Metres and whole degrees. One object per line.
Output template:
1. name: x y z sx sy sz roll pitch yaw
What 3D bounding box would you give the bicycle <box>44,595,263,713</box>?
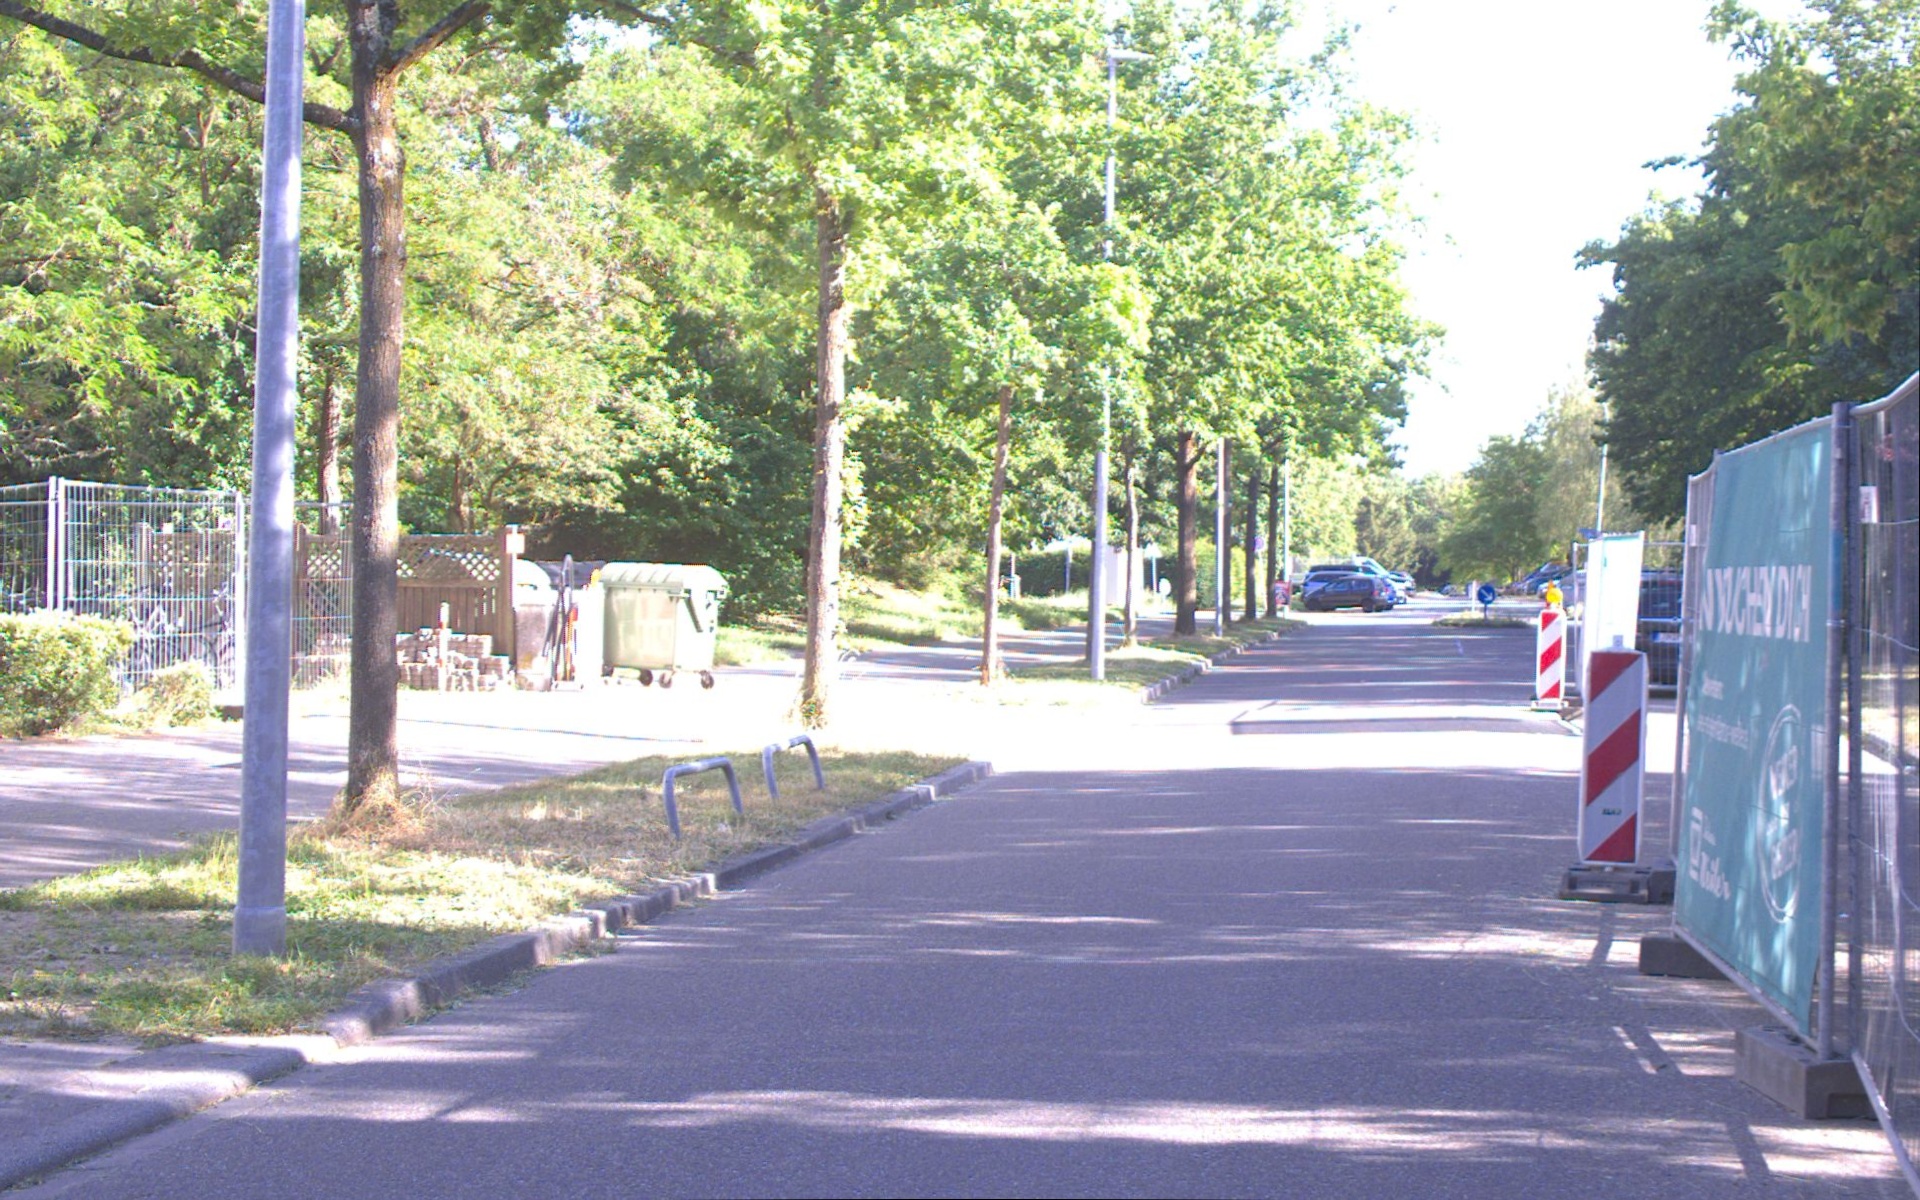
1. bicycle: -7.174 0.478 30.617 1.838 1.023 0.400 1 0 -3

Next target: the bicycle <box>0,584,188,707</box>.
1. bicycle: -7.548 0.382 29.246 1.868 1.023 0.400 1 0 -3

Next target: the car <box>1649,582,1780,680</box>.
1. car: 11.686 0.453 53.462 1.662 1.371 4.153 2 1 9

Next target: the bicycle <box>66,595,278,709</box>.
1. bicycle: -7.220 0.475 31.530 1.837 1.023 0.400 1 0 -3

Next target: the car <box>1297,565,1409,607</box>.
1. car: 16.420 -0.574 143.519 4.321 1.571 2.044 3 1 16

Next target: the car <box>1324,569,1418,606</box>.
1. car: 19.084 -0.586 159.599 4.109 1.571 1.957 2 1 11

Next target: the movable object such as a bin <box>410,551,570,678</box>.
1. movable object such as a bin: -5.434 0.155 39.769 1.272 1.430 1.323 1 1 37

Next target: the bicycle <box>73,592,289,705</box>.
1. bicycle: -7.245 0.449 32.005 1.914 1.023 0.400 1 0 -3

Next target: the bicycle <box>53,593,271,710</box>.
1. bicycle: -7.211 0.463 31.101 1.859 1.023 0.400 1 0 -3

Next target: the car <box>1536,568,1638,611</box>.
1. car: 25.080 -0.415 137.514 3.841 1.571 1.687 3 1 16

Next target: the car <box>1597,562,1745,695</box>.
1. car: 9.736 0.358 46.886 1.811 1.645 4.418 2 1 13

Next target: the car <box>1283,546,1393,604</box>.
1. car: 18.525 -1.246 168.749 5.200 2.612 2.293 2 1 4

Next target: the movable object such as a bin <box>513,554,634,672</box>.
1. movable object such as a bin: -4.794 0.149 42.554 1.141 1.430 1.273 0 0 -25

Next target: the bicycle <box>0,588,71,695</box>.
1. bicycle: -9.186 0.397 33.308 0.399 1.023 1.700 1 0 11

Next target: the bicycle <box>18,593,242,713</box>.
1. bicycle: -7.272 0.463 30.154 1.855 1.023 0.400 1 0 -3

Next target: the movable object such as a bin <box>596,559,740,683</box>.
1. movable object such as a bin: -3.444 0.232 40.643 1.271 1.430 1.180 0 0 25

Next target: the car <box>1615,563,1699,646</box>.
1. car: 15.731 0.075 77.685 1.623 1.767 3.667 2 1 9
